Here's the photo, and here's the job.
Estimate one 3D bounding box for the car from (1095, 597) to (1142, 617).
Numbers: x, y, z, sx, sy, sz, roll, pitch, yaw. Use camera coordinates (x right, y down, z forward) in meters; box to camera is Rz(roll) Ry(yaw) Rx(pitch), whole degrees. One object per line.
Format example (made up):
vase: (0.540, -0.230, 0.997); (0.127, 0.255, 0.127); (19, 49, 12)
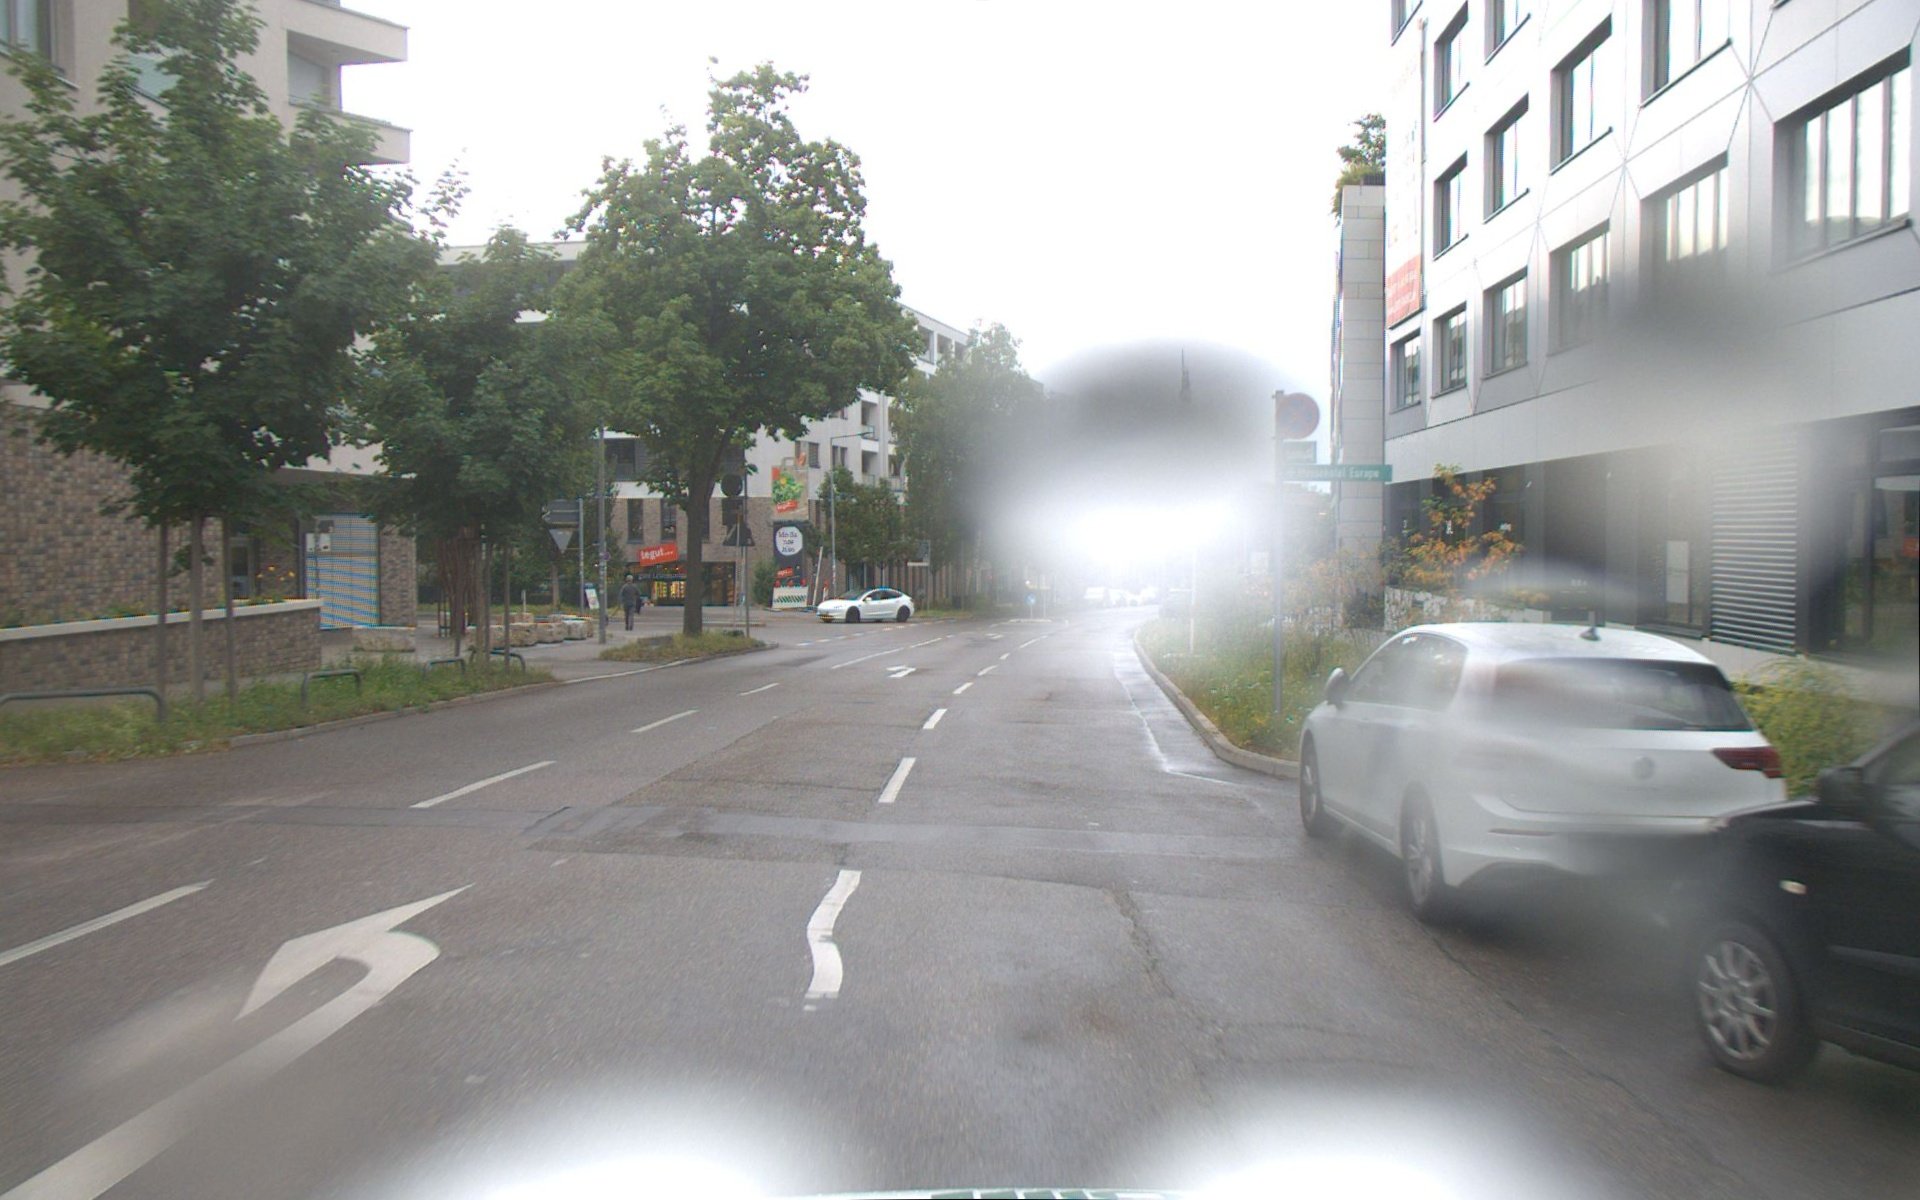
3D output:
car: (13.742, 0.577, 143.483); (3.898, 1.604, 2.002); (1, 0, 10)

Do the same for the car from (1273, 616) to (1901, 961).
car: (3.278, 0.878, 9.769); (1.997, 1.490, 4.502); (2, 0, 0)

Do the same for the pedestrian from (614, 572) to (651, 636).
pedestrian: (-10.787, 0.129, 54.476); (1.035, 2.049, 1.098); (2, -1, -7)

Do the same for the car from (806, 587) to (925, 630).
car: (-3.992, 0.380, 70.319); (4.776, 1.690, 2.034); (2, -1, -41)

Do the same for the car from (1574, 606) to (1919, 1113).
car: (3.854, 0.799, 4.889); (2.008, 1.484, 4.044); (2, 0, -11)

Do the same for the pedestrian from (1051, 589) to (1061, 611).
pedestrian: (7.508, -0.021, 129.409); (0.693, 1.712, 0.957); (1, 0, 10)

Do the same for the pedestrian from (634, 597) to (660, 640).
pedestrian: (-15.191, 0.905, 80.311); (0.864, 2.049, 1.118); (2, 0, 5)
